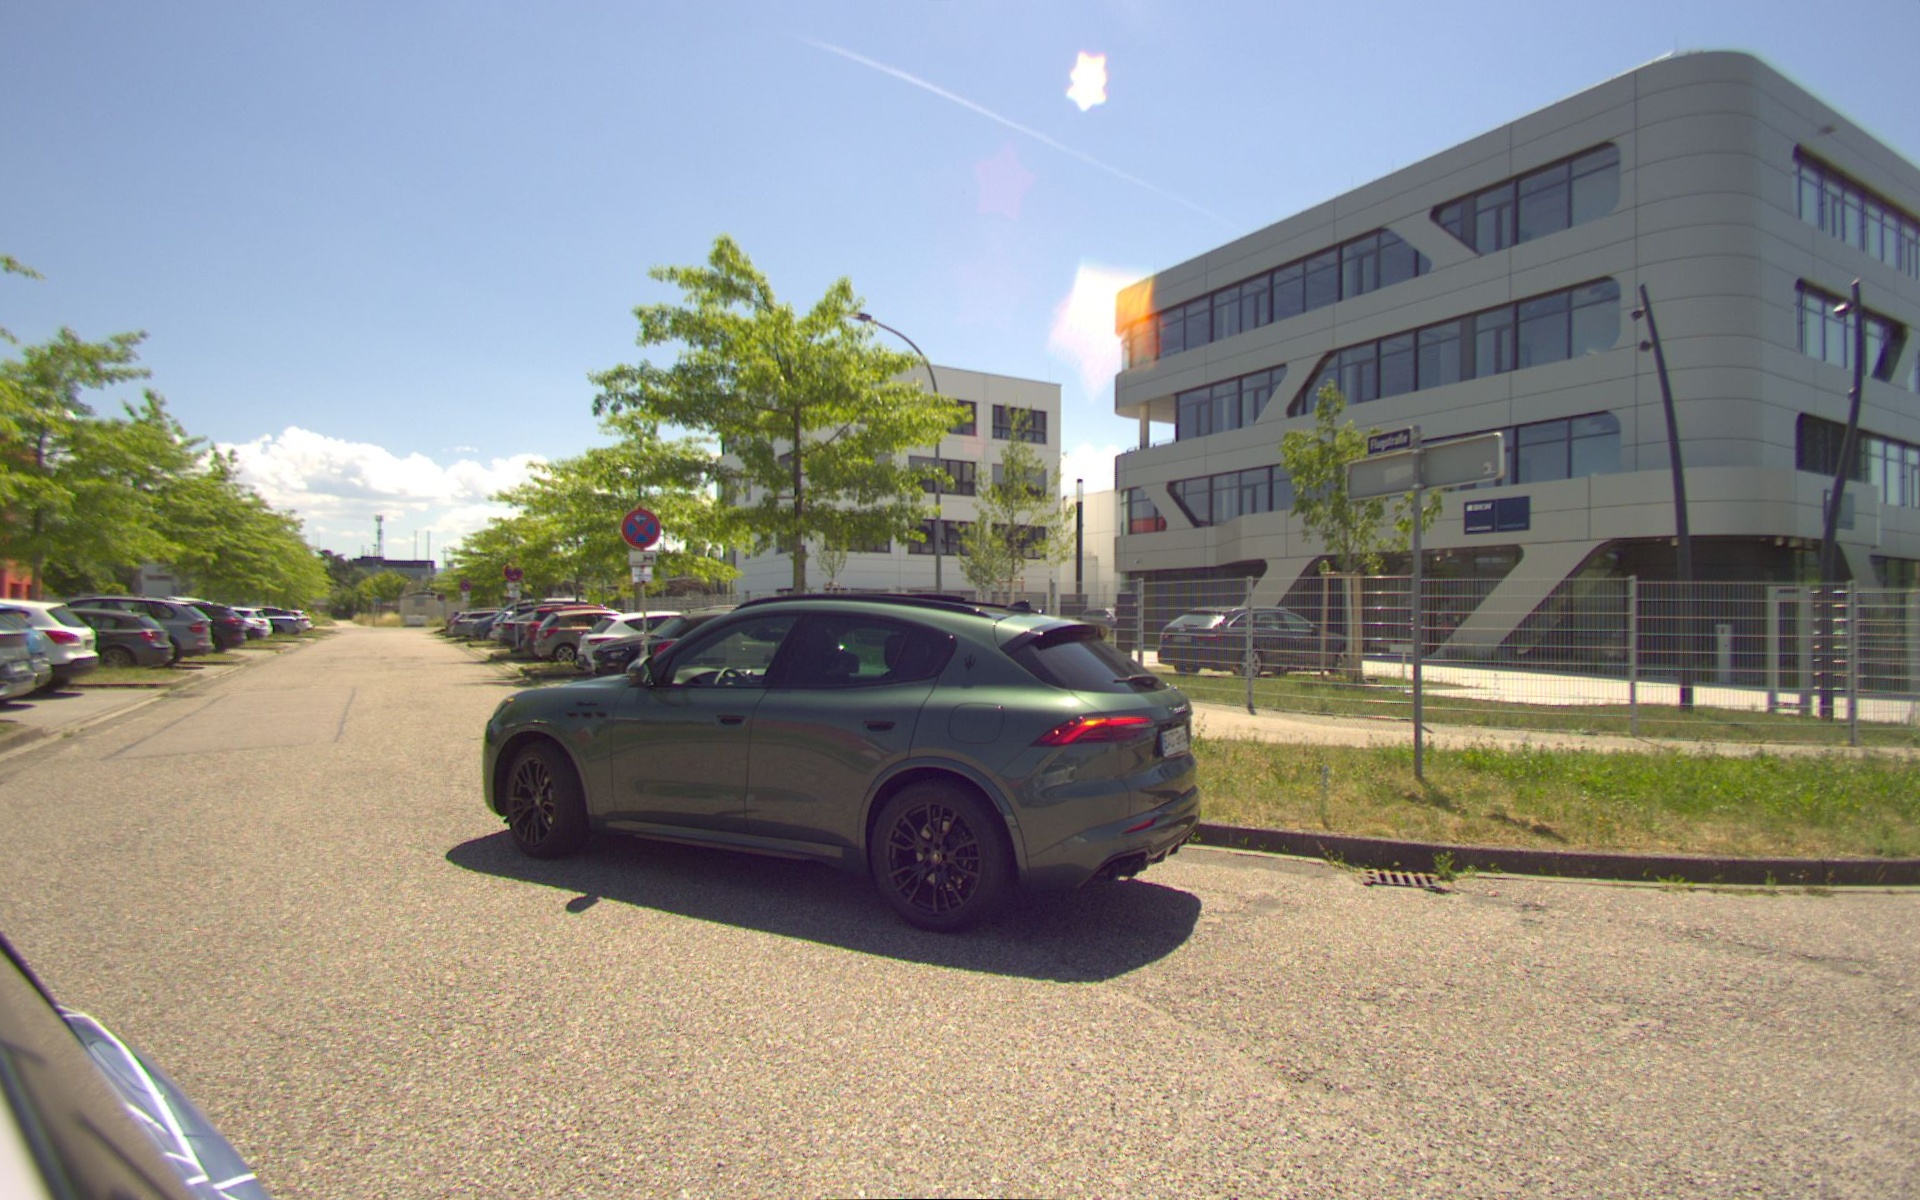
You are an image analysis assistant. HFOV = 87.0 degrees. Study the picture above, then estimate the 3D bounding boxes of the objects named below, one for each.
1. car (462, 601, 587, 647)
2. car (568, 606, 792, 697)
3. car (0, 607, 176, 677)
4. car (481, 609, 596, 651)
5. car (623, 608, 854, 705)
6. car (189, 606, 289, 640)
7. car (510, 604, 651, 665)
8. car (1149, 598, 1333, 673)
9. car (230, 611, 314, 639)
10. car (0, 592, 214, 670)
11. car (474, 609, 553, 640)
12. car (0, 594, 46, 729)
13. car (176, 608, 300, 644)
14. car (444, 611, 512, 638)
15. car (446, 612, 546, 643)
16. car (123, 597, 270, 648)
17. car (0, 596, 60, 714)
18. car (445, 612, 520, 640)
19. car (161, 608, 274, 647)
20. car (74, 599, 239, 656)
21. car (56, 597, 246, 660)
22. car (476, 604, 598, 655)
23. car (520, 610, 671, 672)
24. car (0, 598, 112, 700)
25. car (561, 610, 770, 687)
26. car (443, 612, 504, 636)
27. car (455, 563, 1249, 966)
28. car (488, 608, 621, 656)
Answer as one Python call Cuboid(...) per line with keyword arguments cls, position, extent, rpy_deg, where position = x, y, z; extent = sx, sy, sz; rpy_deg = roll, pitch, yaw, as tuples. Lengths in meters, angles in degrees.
Cuboid(cls="car", position=(-19.623, 1.053, 45.670), extent=(4.999, 1.906, 2.003), rpy_deg=(-1, -1, -28))
Cuboid(cls="car", position=(-5.459, 0.935, 19.839), extent=(3.873, 1.532, 1.790), rpy_deg=(-2, 0, -31))
Cuboid(cls="car", position=(-19.857, 0.913, 22.265), extent=(3.868, 1.420, 1.915), rpy_deg=(2, 0, -30))
Cuboid(cls="car", position=(-16.759, 1.155, 40.260), extent=(3.982, 1.472, 1.609), rpy_deg=(-2, 0, -33))
Cuboid(cls="car", position=(-3.859, 0.916, 17.738), extent=(3.575, 1.446, 1.731), rpy_deg=(-2, 0, -30))
Cuboid(cls="car", position=(-37.202, 1.207, 52.346), extent=(3.990, 1.637, 1.698), rpy_deg=(3, -2, -29))
Cuboid(cls="car", position=(-11.365, 0.999, 30.323), extent=(3.685, 1.633, 1.822), rpy_deg=(-1, 0, -29))
Cuboid(cls="car", position=(5.719, 0.728, 20.547), extent=(3.431, 1.401, 1.683), rpy_deg=(2, -2, -31))
Cuboid(cls="car", position=(-39.837, 1.466, 58.691), extent=(3.780, 1.565, 1.785), rpy_deg=(1, -3, -25))
Cuboid(cls="car", position=(-21.003, 0.772, 24.605), extent=(4.388, 1.782, 1.998), rpy_deg=(2, -2, -32))
Cuboid(cls="car", position=(-25.917, 1.388, 58.716), extent=(4.060, 1.647, 1.733), rpy_deg=(-1, -1, -28))
Cuboid(cls="car", position=(-13.880, 0.683, 11.943), extent=(4.219, 1.656, 1.856), rpy_deg=(2, -2, -30))
Cuboid(cls="car", position=(-34.035, 1.250, 47.894), extent=(4.652, 1.573, 1.919), rpy_deg=(3, -2, -33))
Cuboid(cls="car", position=(-31.490, 1.566, 66.126), extent=(3.786, 1.604, 1.732), rpy_deg=(-1, -1, -32))
Cuboid(cls="car", position=(-24.629, 1.417, 53.757), extent=(4.648, 1.458, 1.863), rpy_deg=(-1, -1, -31))
Cuboid(cls="car", position=(-29.949, 0.893, 39.864), extent=(4.341, 1.844, 1.801), rpy_deg=(3, -2, -29))
Cuboid(cls="car", position=(-15.438, 0.727, 14.149), extent=(3.931, 1.656, 1.844), rpy_deg=(2, -2, -30))
Cuboid(cls="car", position=(-30.100, 1.638, 63.816), extent=(4.114, 1.524, 1.813), rpy_deg=(-2, -1, -28))
Cuboid(cls="car", position=(-31.022, 1.153, 42.423), extent=(3.580, 1.514, 1.681), rpy_deg=(3, -2, -29))
Cuboid(cls="car", position=(-25.515, 0.896, 32.309), extent=(3.821, 1.690, 1.788), rpy_deg=(2, -2, -29))
Cuboid(cls="car", position=(-23.820, 0.858, 30.002), extent=(4.115, 1.709, 1.787), rpy_deg=(3, -2, -31))
Cuboid(cls="car", position=(-15.867, 1.080, 38.032), extent=(3.934, 1.691, 1.782), rpy_deg=(-2, 0, -35))
Cuboid(cls="car", position=(-10.097, 1.089, 28.091), extent=(3.607, 1.520, 1.736), rpy_deg=(-1, 0, -33))
Cuboid(cls="car", position=(-16.578, 0.753, 16.410), extent=(4.011, 1.620, 1.907), rpy_deg=(2, -1, -29))
Cuboid(cls="car", position=(-6.455, 0.994, 22.296), extent=(4.020, 1.434, 1.879), rpy_deg=(-2, 0, -33))
Cuboid(cls="car", position=(-34.538, 1.695, 71.894), extent=(3.851, 1.604, 1.733), rpy_deg=(-1, -1, -26))
Cuboid(cls="car", position=(-0.685, 0.751, 6.210), extent=(4.487, 1.720, 1.940), rpy_deg=(0, -3, 26))
Cuboid(cls="car", position=(-14.301, 1.094, 35.759), extent=(4.135, 1.491, 1.718), rpy_deg=(-2, 0, -29))
